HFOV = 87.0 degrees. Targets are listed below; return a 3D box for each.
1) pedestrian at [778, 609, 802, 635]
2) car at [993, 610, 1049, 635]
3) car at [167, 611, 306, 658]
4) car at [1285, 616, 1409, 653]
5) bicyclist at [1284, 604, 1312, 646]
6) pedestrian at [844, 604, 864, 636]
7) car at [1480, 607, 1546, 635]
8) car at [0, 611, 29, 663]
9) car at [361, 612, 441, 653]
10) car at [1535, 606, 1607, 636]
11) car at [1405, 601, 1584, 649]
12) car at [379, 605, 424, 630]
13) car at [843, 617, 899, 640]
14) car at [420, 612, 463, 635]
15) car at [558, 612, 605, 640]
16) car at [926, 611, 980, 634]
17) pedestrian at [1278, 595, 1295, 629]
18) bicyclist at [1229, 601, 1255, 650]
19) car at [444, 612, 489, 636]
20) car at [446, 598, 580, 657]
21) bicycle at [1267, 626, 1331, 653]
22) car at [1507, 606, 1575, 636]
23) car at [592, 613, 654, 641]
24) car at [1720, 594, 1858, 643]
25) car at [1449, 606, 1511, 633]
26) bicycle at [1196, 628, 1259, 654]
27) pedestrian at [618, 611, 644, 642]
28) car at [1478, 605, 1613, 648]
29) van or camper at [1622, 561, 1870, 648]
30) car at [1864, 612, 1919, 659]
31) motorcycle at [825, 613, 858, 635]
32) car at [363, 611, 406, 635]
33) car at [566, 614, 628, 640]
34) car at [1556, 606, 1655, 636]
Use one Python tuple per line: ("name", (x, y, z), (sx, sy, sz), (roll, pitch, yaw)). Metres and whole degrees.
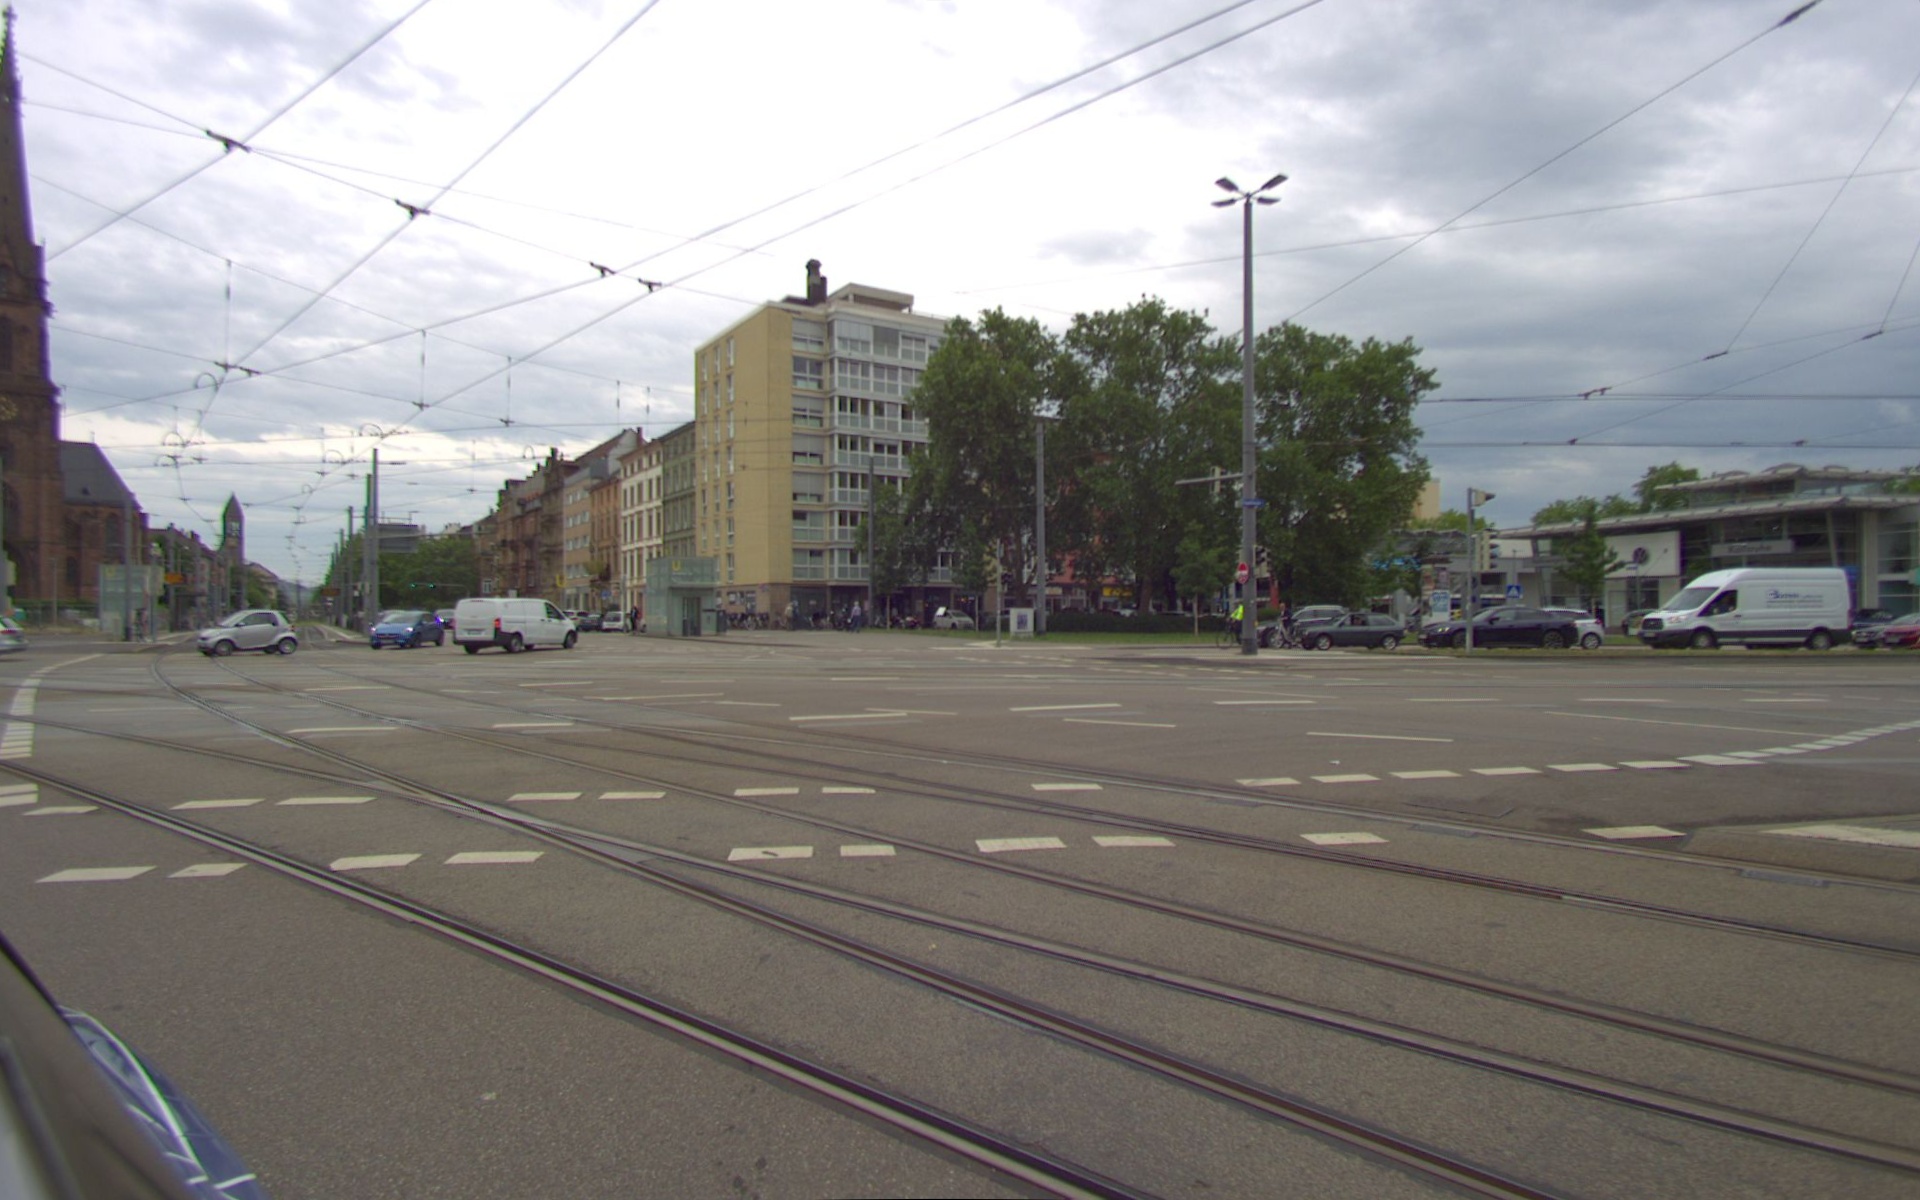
("pedestrian", (-10.908, 1.410, 64.861), (1.024, 1.652, 1.334), (0, -1, -37))
("car", (4.463, 1.595, 74.411), (1.968, 1.719, 4.008), (0, 0, -38))
("car", (-24.869, 1.155, 34.863), (2.000, 1.504, 3.570), (0, 0, 42))
("car", (13.604, 1.202, 35.736), (3.684, 1.256, 1.692), (0, -1, -1))
("bicyclist", (12.626, 0.935, 37.811), (0.845, 1.519, 0.567), (-2, -1, 3))
("pedestrian", (-5.840, 1.085, 55.675), (0.916, 1.732, 0.697), (0, 0, 44))
("car", (41.191, 1.523, 75.381), (3.933, 2.029, 2.005), (0, 0, -13))
("car", (-31.030, 1.164, 30.099), (4.599, 1.505, 2.006), (0, -3, -32))
("car", (-22.679, 1.262, 41.213), (1.966, 1.504, 4.071), (-2, 0, -17))
("car", (42.318, 1.438, 70.101), (3.933, 2.029, 2.005), (0, 0, -13))
("car", (16.920, 0.783, 32.210), (4.595, 1.431, 2.001), (0, -1, -1))
("car", (-34.304, 1.070, 62.126), (1.967, 1.453, 4.009), (0, -1, -36))
("car", (-6.078, 1.915, 68.846), (1.967, 1.564, 4.009), (0, -1, -37))
("car", (-36.182, 1.595, 70.570), (1.967, 1.541, 4.009), (0, -1, -37))
("car", (-20.743, 1.385, 55.364), (1.745, 1.479, 4.012), (0, -1, -30))
("car", (-0.525, 1.623, 73.623), (1.967, 1.564, 4.009), (0, -1, -37))
("pedestrian", (18.470, 0.688, 57.269), (0.853, 1.914, 0.707), (0, 0, 12))
("bicyclist", (10.593, 0.957, 38.035), (0.787, 1.817, 0.629), (0, -1, 3))
("car", (-31.397, 1.511, 64.336), (1.967, 1.453, 4.009), (0, -1, -36))
("car", (-15.786, 0.902, 36.087), (1.902, 1.896, 5.073), (1, 0, 10))
("bicycle", (12.658, 1.473, 37.822), (2.193, 0.933, 0.519), (-1, -1, 3))
("car", (41.872, 1.497, 72.935), (3.933, 2.029, 2.005), (0, 0, -13))
("car", (-23.449, 1.852, 70.609), (2.067, 1.768, 3.971), (0, 0, 22))
("car", (36.652, 0.753, 44.918), (2.091, 2.029, 4.783), (0, 0, -1))
("car", (40.258, 1.482, 78.378), (3.933, 2.029, 2.005), (0, 0, -13))
("bicycle", (10.046, 1.532, 38.056), (2.193, 0.937, 0.519), (-1, -1, 3))
("pedestrian", (-18.966, 1.518, 58.341), (1.161, 1.798, 1.043), (0, -1, -38))
("car", (20.165, 0.908, 34.926), (3.684, 1.431, 1.641), (0, -1, -1))
("van or camper", (24.866, 0.135, 32.199), (5.965, 2.630, 2.423), (0, 0, -1))
("car", (31.849, 1.077, 31.859), (4.742, 1.431, 1.996), (0, -1, 6))
("motorcycle", (-6.845, 1.375, 58.519), (0.850, 1.187, 2.554), (0, 0, -33))
("car", (-38.149, 1.502, 67.004), (1.967, 1.541, 4.009), (0, -1, -37))
("car", (-25.873, 1.899, 72.184), (2.067, 1.768, 3.971), (0, 0, 22))
("car", (31.394, 1.018, 49.279), (3.687, 1.431, 1.640), (0, -1, 2))
